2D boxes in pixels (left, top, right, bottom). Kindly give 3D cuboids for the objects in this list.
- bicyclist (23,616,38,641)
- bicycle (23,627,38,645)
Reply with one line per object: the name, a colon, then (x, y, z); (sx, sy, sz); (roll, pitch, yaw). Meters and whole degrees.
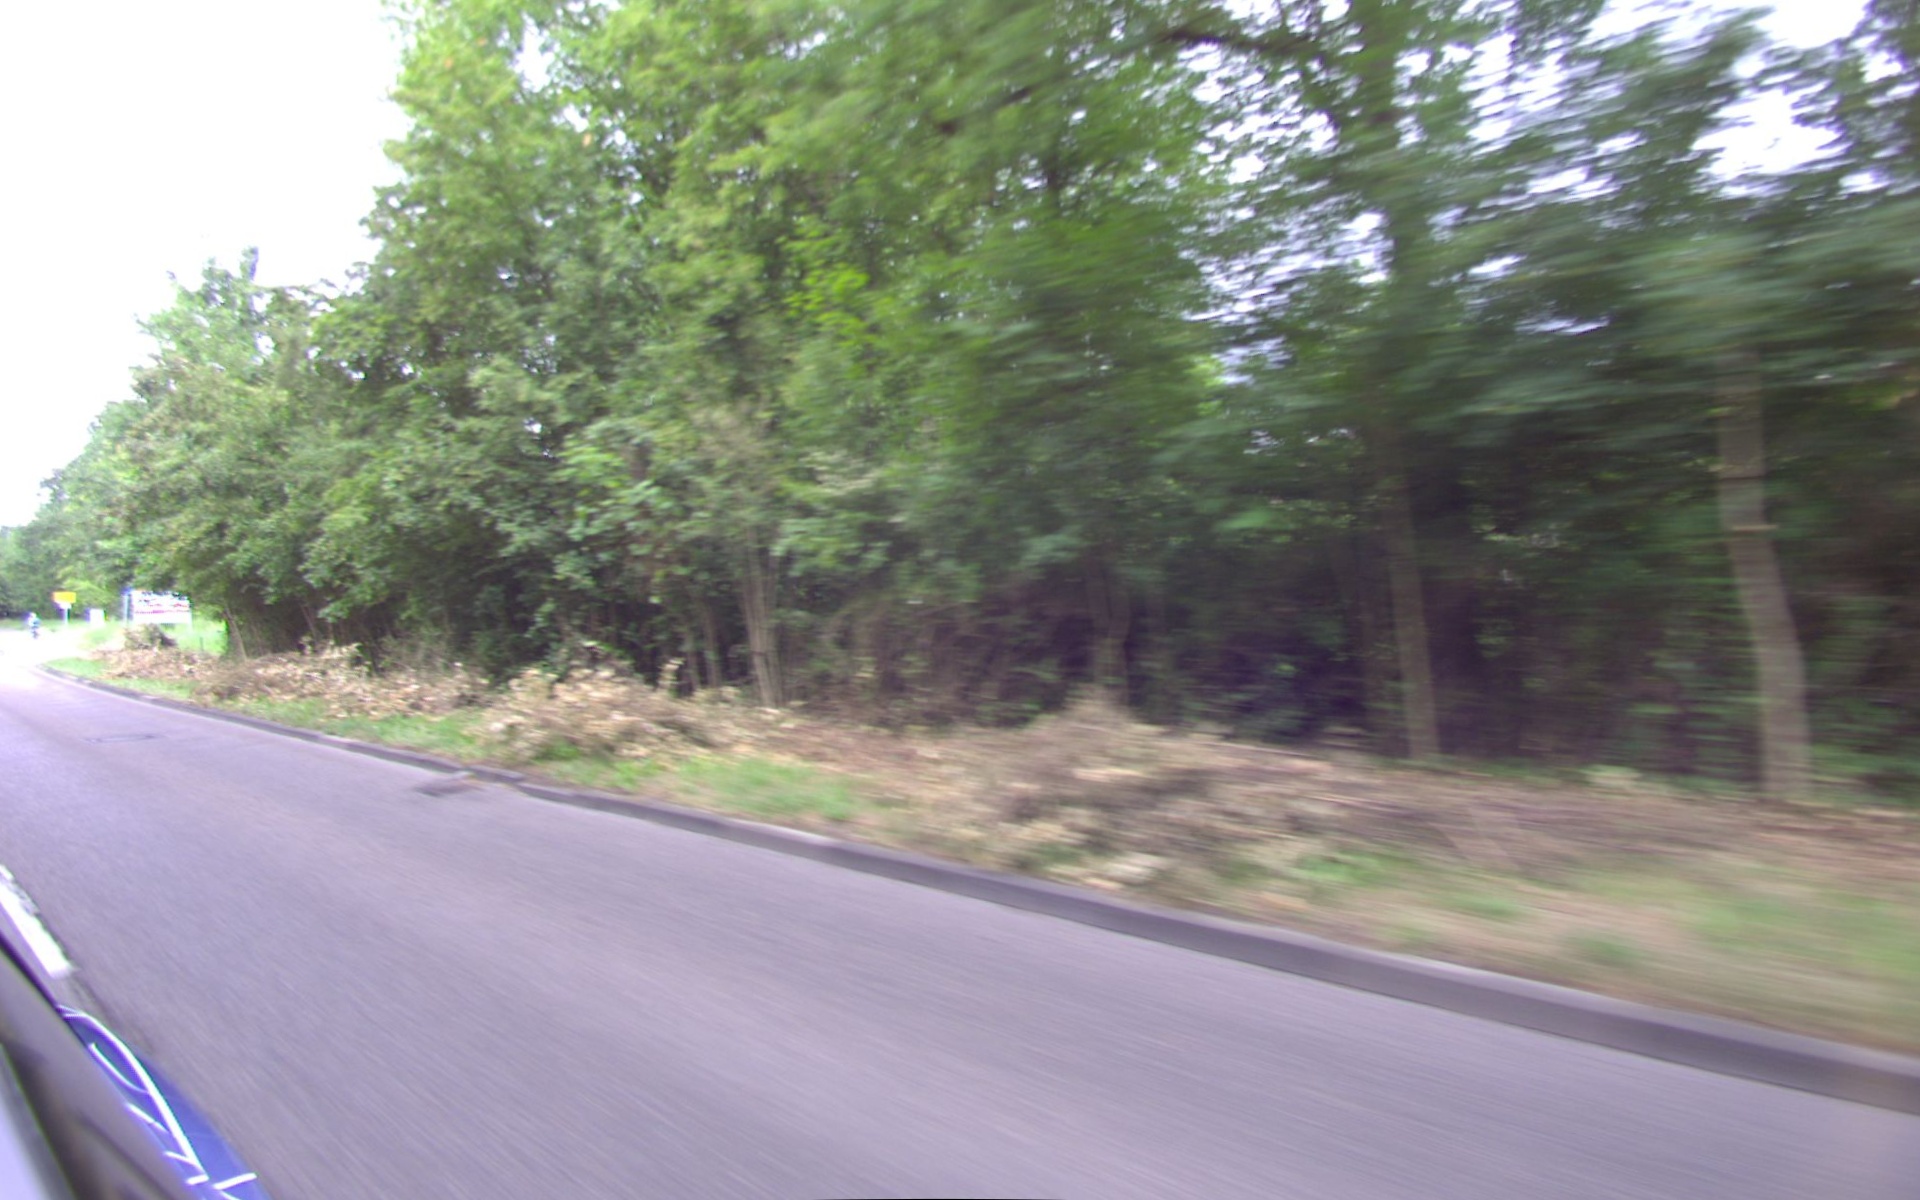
bicyclist: (-57.219, 1.764, 62.295); (0.657, 1.531, 1.272); (-1, 0, -42)
bicycle: (-57.206, 2.190, 62.295); (0.657, 1.082, 2.148); (-2, 0, -42)
